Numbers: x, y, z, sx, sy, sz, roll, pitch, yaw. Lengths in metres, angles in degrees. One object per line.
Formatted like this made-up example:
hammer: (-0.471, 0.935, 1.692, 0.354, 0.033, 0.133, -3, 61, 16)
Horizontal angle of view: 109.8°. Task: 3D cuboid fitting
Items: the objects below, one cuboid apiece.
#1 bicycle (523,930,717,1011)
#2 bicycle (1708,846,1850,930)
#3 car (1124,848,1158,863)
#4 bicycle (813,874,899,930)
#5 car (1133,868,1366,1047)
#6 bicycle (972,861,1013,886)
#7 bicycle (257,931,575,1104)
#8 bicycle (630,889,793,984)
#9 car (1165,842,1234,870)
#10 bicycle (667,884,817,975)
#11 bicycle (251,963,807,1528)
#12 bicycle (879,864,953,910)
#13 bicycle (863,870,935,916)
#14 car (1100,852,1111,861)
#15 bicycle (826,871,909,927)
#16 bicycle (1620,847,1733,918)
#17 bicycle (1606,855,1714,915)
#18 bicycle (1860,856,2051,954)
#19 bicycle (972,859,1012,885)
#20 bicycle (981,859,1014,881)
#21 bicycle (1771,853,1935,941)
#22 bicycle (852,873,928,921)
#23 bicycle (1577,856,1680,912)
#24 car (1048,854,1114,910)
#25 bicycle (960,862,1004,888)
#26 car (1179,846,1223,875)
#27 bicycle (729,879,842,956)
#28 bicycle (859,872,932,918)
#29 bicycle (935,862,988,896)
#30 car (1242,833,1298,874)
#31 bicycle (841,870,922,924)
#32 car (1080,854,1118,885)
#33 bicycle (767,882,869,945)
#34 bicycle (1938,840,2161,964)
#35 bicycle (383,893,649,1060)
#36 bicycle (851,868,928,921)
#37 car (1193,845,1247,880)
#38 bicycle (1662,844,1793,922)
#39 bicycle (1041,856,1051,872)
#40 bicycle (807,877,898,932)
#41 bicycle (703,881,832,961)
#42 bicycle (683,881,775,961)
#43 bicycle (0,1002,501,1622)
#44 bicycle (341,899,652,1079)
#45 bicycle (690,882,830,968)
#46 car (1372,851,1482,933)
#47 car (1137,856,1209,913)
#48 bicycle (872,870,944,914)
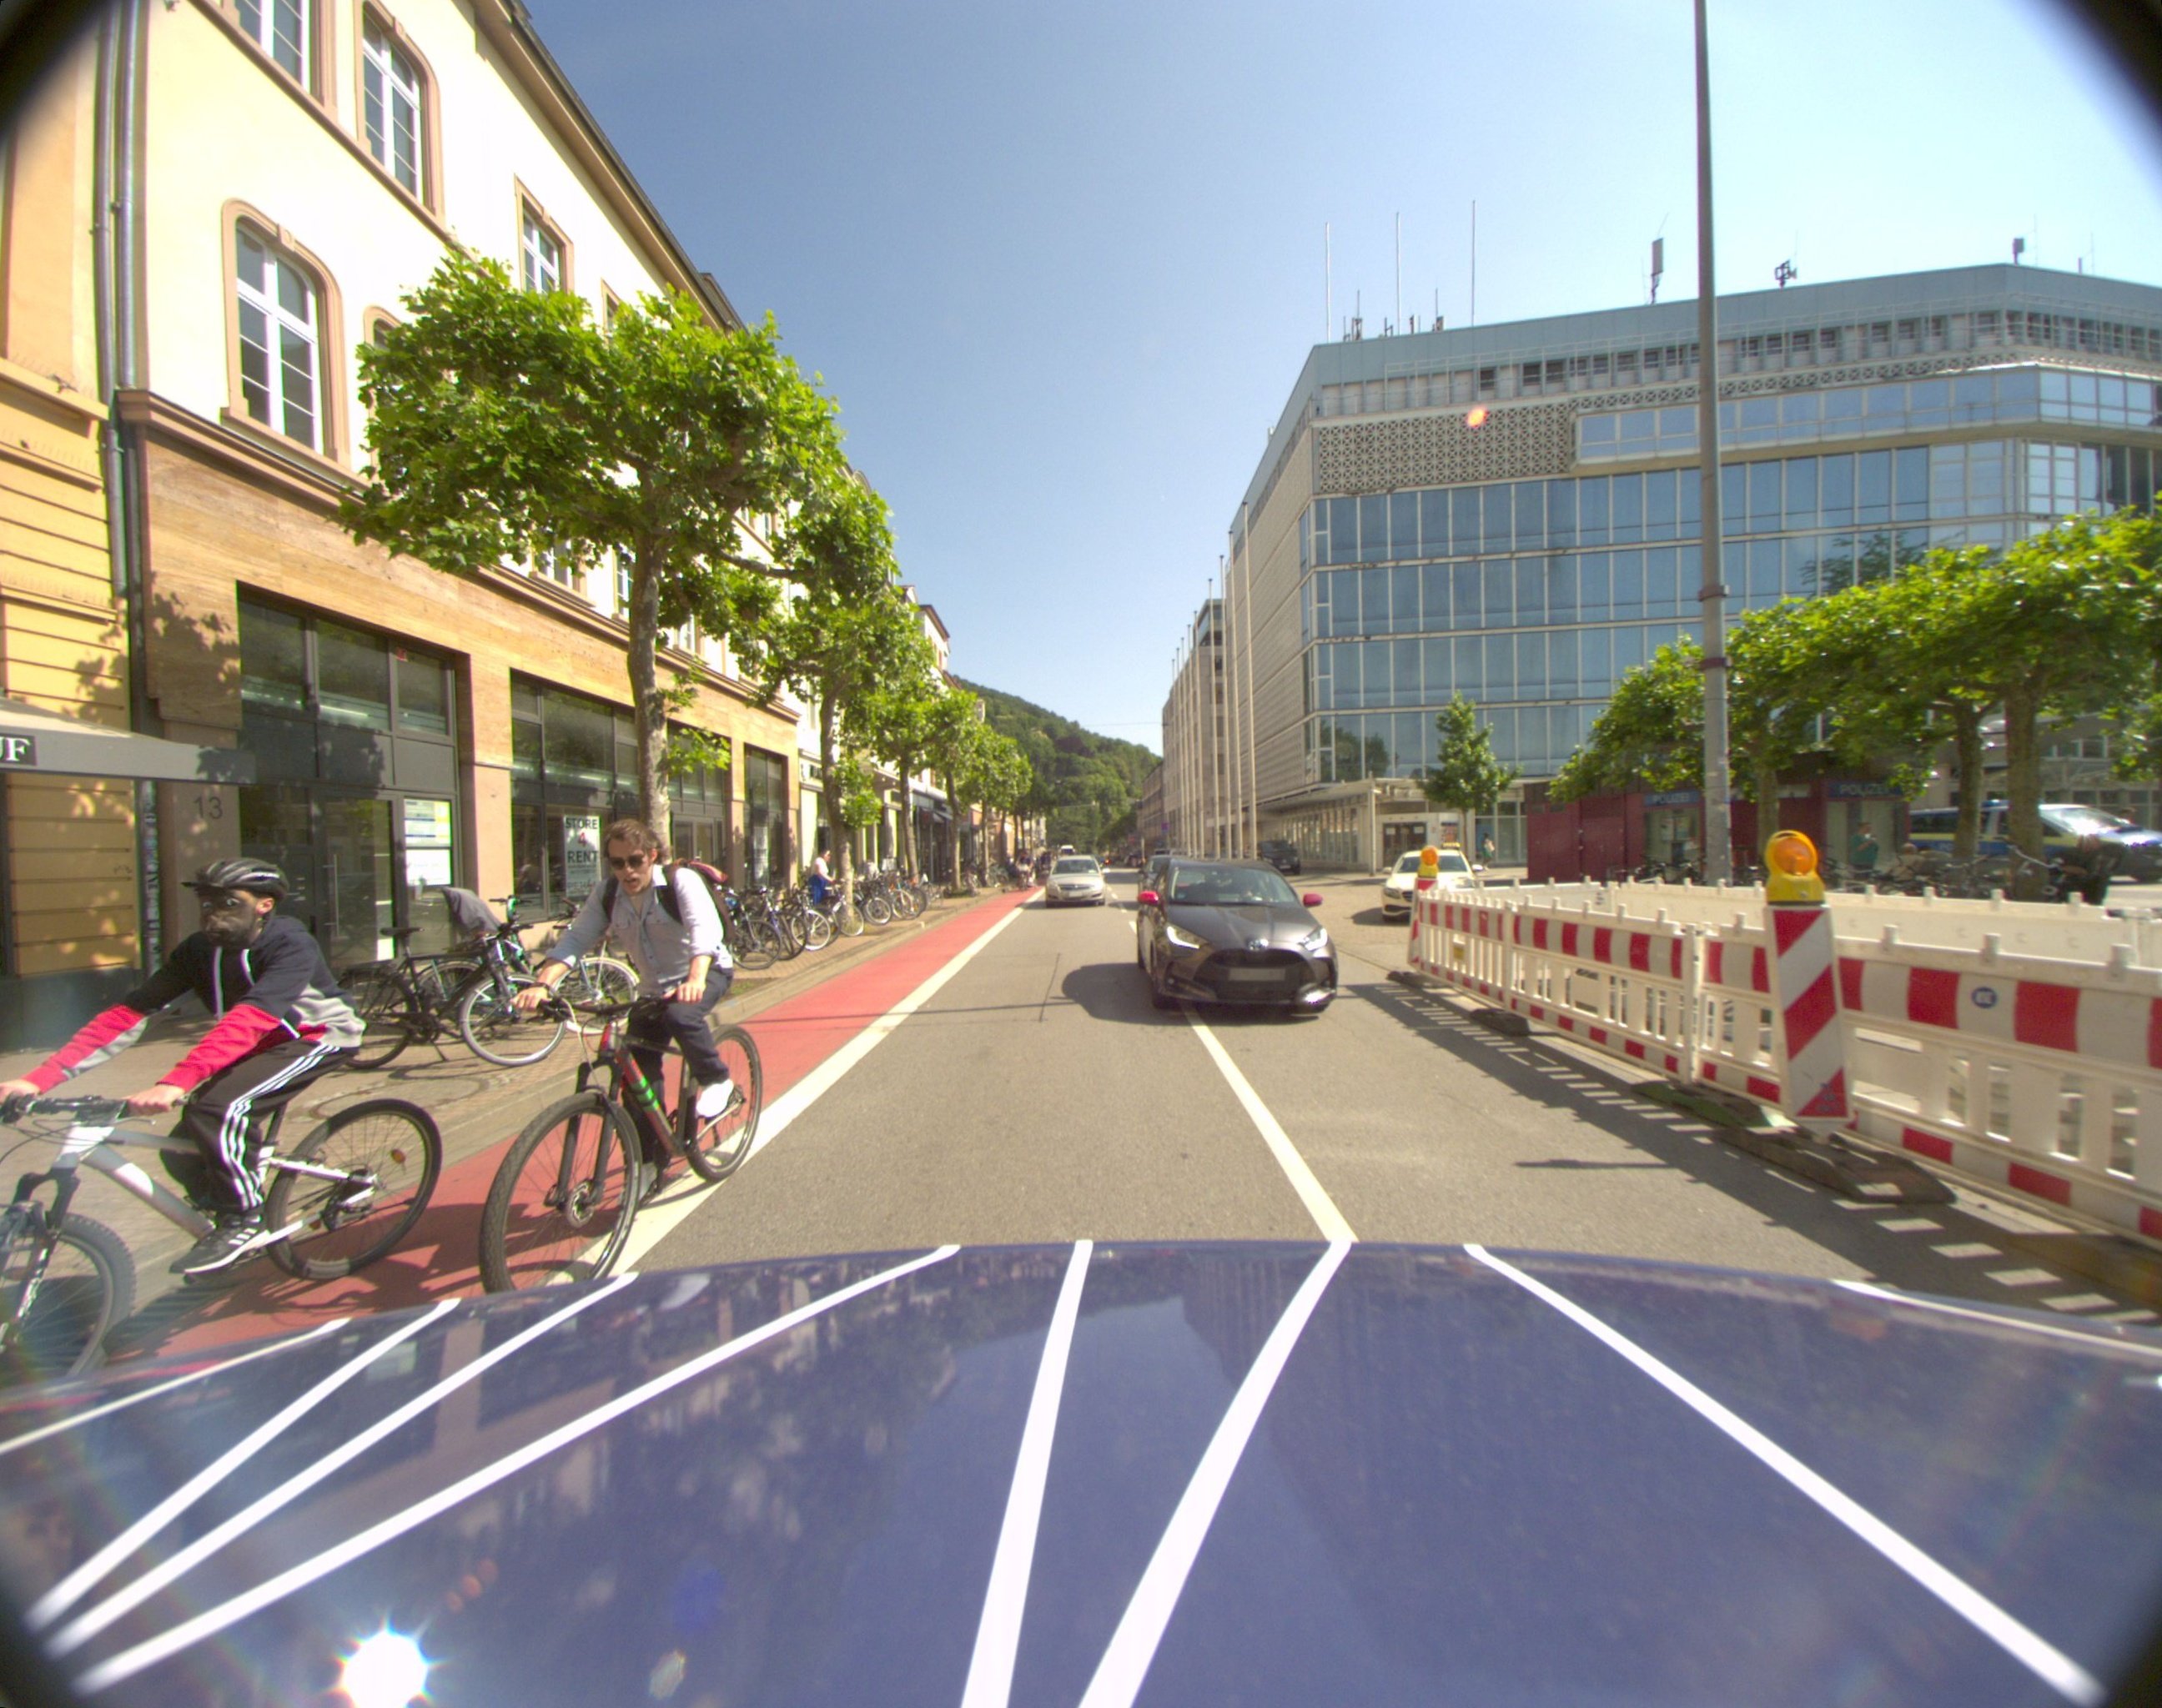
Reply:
bicycle: (-5.389, 1.344, 9.011, 1.851, 0.711, 0.658, -2, 1, -20)
bicycle: (11.597, 0.541, 12.656, 1.786, 1.301, 0.663, -2, 1, -2)
car: (7.911, 0.213, 100.169, 4.165, 1.627, 2.103, -5, 0, 9)
bicycle: (-4.980, 1.055, 16.886, 1.732, 1.155, 0.477, -2, 1, 3)
car: (1.597, 0.930, 8.639, 1.868, 1.469, 4.107, 1, -1, 3)
bicycle: (-4.311, 0.949, 36.971, 1.843, 1.120, 0.498, -3, 1, 12)
bicycle: (-4.849, 1.177, 5.621, 1.786, 1.116, 0.562, -1, 1, -2)
bicycle: (-4.971, 1.104, 10.285, 1.848, 1.157, 0.659, -2, 1, 3)
car: (8.594, 0.128, 55.304, 4.434, 1.898, 2.013, -2, 0, 37)
bicycle: (-4.846, 1.071, 10.914, 1.848, 1.194, 0.608, -2, 1, 3)
bicycle: (-1.804, 1.168, 3.022, 0.700, 1.120, 2.080, -3, 1, -3)
bicycle: (-4.795, 0.960, 22.113, 1.936, 1.241, 0.736, -2, 1, 3)
bicycle: (-4.735, 1.012, 19.779, 1.732, 1.102, 0.402, -2, 1, 3)
car: (3.986, 0.368, 124.823, 1.734, 1.389, 4.106, -2, 0, 0)
bicycle: (-4.865, 1.019, 17.370, 1.732, 1.210, 0.477, -2, 1, 3)
bicycle: (11.637, 0.537, 14.878, 1.786, 1.301, 0.562, -2, 1, -2)
bicycle: (11.759, 0.619, 15.448, 1.786, 1.125, 0.562, -2, 1, -2)
bicycle: (11.447, 0.644, 9.975, 1.786, 1.178, 0.663, -2, 1, -2)
bicycle: (-4.468, 0.905, 38.038, 1.843, 1.190, 0.674, -2, 1, 8)
bicycle: (-4.891, 0.932, 44.404, 1.783, 1.190, 0.576, -3, 1, -27)
bicycle: (11.425, 0.615, 11.271, 1.786, 1.208, 0.663, -2, 1, -2)
bicycle: (-4.752, 1.064, 18.947, 1.732, 1.102, 0.477, -2, 1, 3)
bicycle: (11.612, 0.618, 16.139, 1.786, 1.099, 0.562, -2, 1, -2)
car: (-0.063, 0.768, 23.095, 1.791, 1.484, 4.367, -1, 0, -2)
bicycle: (-4.582, 0.981, 35.319, 1.844, 1.091, 0.794, -2, 1, 6)
car: (6.843, 0.374, 43.821, 1.803, 1.514, 4.738, -2, 0, 1)
bicycle: (-4.902, 1.053, 12.639, 1.653, 1.194, 0.474, -2, 1, 3)
bicycle: (-4.714, 1.043, 19.365, 1.732, 1.102, 0.402, -2, 1, 3)
bicycle: (-4.595, 0.968, 29.210, 1.844, 1.179, 0.670, -3, 1, 6)
car: (9.933, -0.028, 40.314, 1.836, 2.002, 4.685, -2, 0, 1)
bicycle: (-4.674, 1.005, 17.858, 1.732, 1.210, 0.477, -2, 1, 3)
car: (0.881, 0.780, 38.965, 1.775, 1.469, 4.107, -1, -1, 0)
bicycle: (-4.890, 1.096, 14.163, 1.653, 1.088, 0.607, -2, 1, 3)
bicycle: (11.740, 0.557, 9.246, 1.786, 1.340, 0.741, -3, 1, -2)
bicycle: (-5.168, 1.078, 7.102, 1.828, 1.301, 0.688, -2, 1, -19)
bicycle: (-4.675, 0.989, 18.583, 1.732, 1.210, 0.477, -2, 1, 3)
car: (6.895, 0.381, 38.022, 1.765, 1.591, 4.709, -2, 0, 0)
bicycle: (11.537, 0.502, 13.589, 1.786, 1.301, 0.663, -2, 1, -2)
bicycle: (-2.479, 0.708, 54.124, 0.607, 1.120, 1.860, 0, 0, 2)
bicycle: (-4.901, 1.087, 16.375, 1.732, 1.088, 0.607, -2, 1, 3)
bicycle: (-5.034, 1.062, 12.228, 1.848, 1.194, 0.474, -2, 1, 3)
bicycle: (-5.904, 1.090, 12.847, 0.473, 1.181, 1.656, -2, 1, 12)
bicycle: (-2.919, 1.239, 2.322, 0.700, 1.120, 2.080, -3, 1, -3)
bicycle: (-4.865, 1.080, 6.500, 1.940, 1.250, 0.704, -2, 1, -19)
bicycle: (-4.804, 1.059, 11.419, 1.848, 1.194, 0.545, -2, 1, 3)
car: (7.932, 0.752, 17.161, 1.892, 1.533, 4.870, -2, 0, 28)
car: (2.553, 0.809, 21.843, 1.733, 1.389, 4.106, -1, 1, 3)
bicycle: (-4.675, 1.013, 20.631, 1.732, 1.102, 0.736, -2, 1, 3)
